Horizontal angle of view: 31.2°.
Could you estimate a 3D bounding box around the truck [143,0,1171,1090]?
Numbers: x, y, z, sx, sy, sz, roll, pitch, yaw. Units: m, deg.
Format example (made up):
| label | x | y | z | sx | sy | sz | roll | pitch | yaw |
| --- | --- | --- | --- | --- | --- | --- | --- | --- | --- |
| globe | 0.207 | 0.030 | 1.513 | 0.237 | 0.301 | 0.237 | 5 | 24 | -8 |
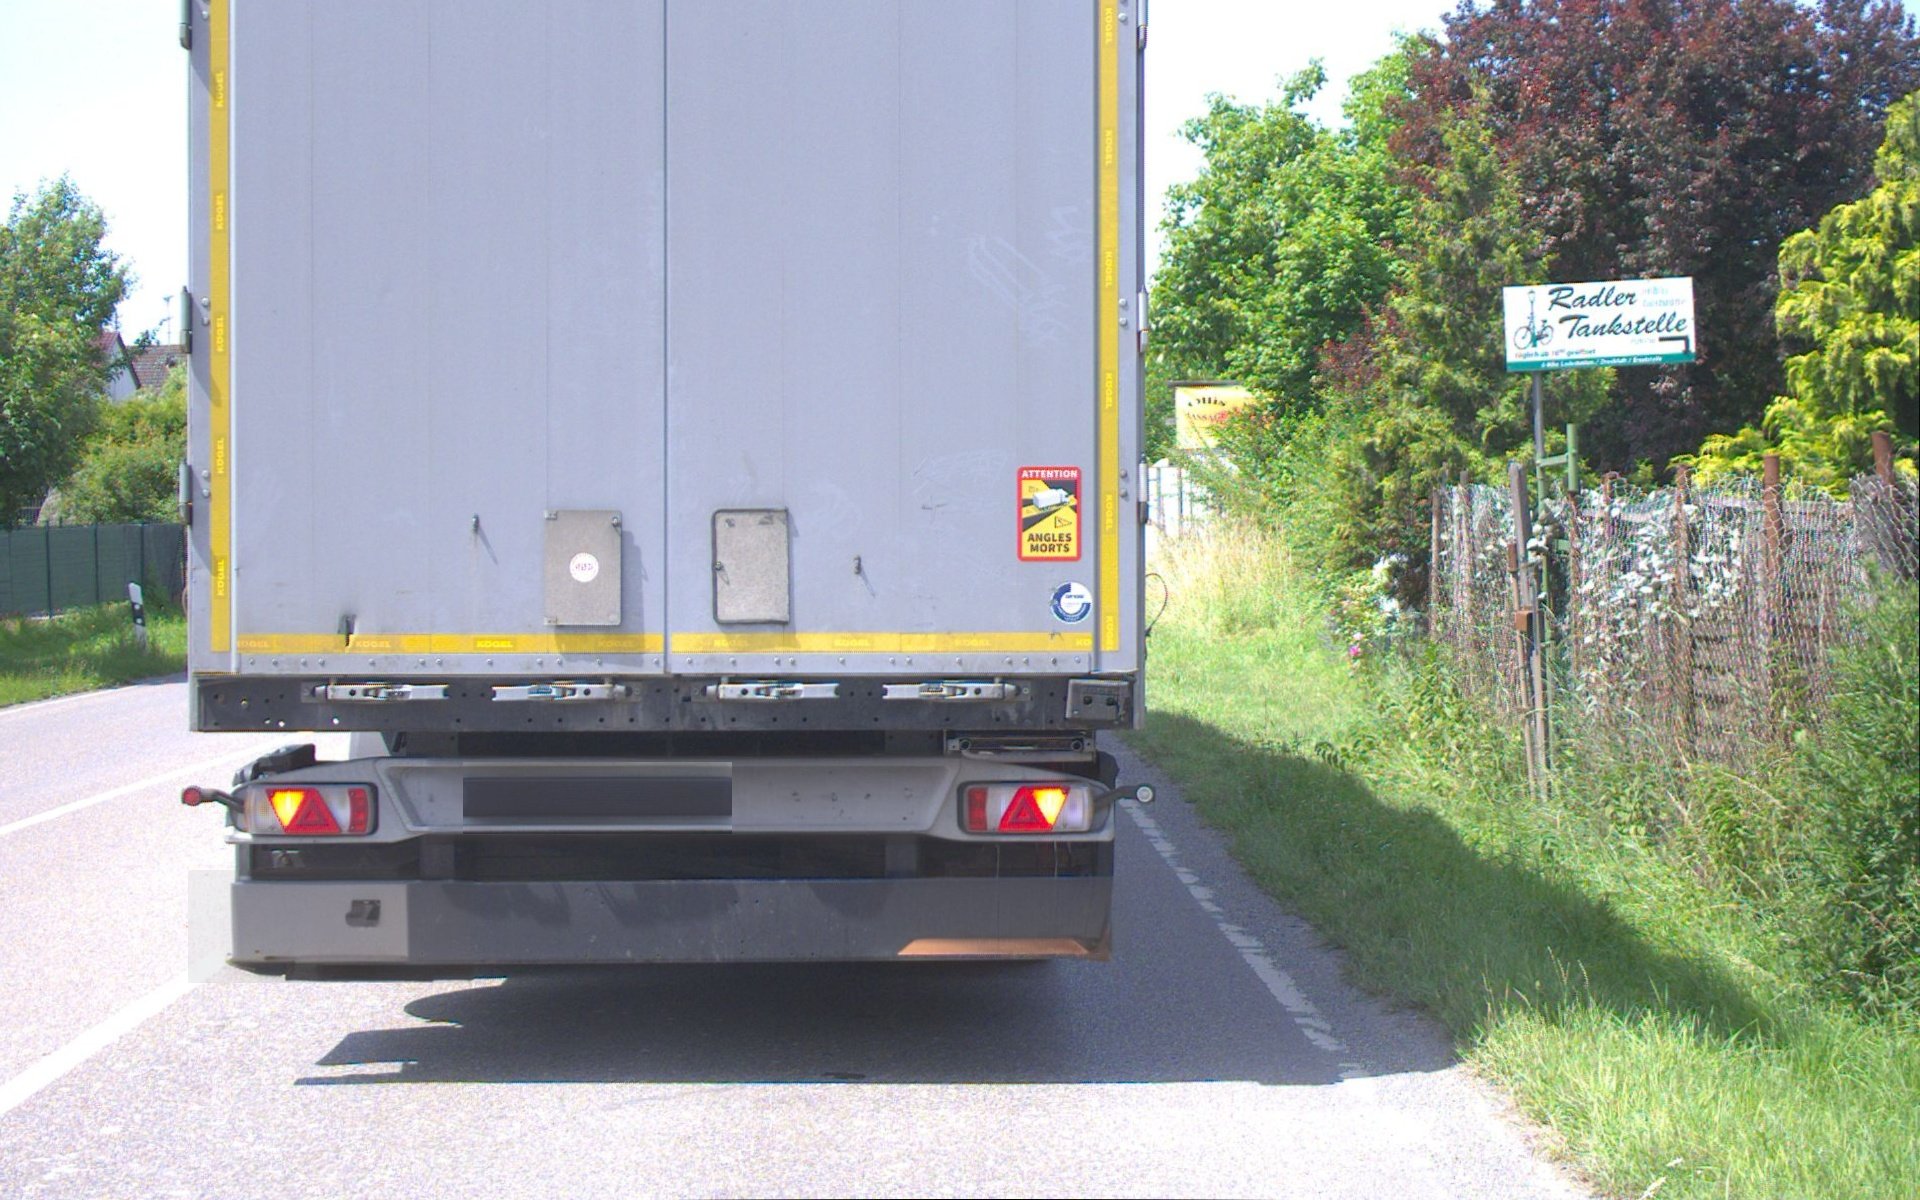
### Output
| label | x | y | z | sx | sy | sz | roll | pitch | yaw |
| --- | --- | --- | --- | --- | --- | --- | --- | --- | --- |
| truck | -0.981 | -0.784 | 13.299 | 2.647 | 3.903 | 8.826 | 0 | 1 | -3 |
